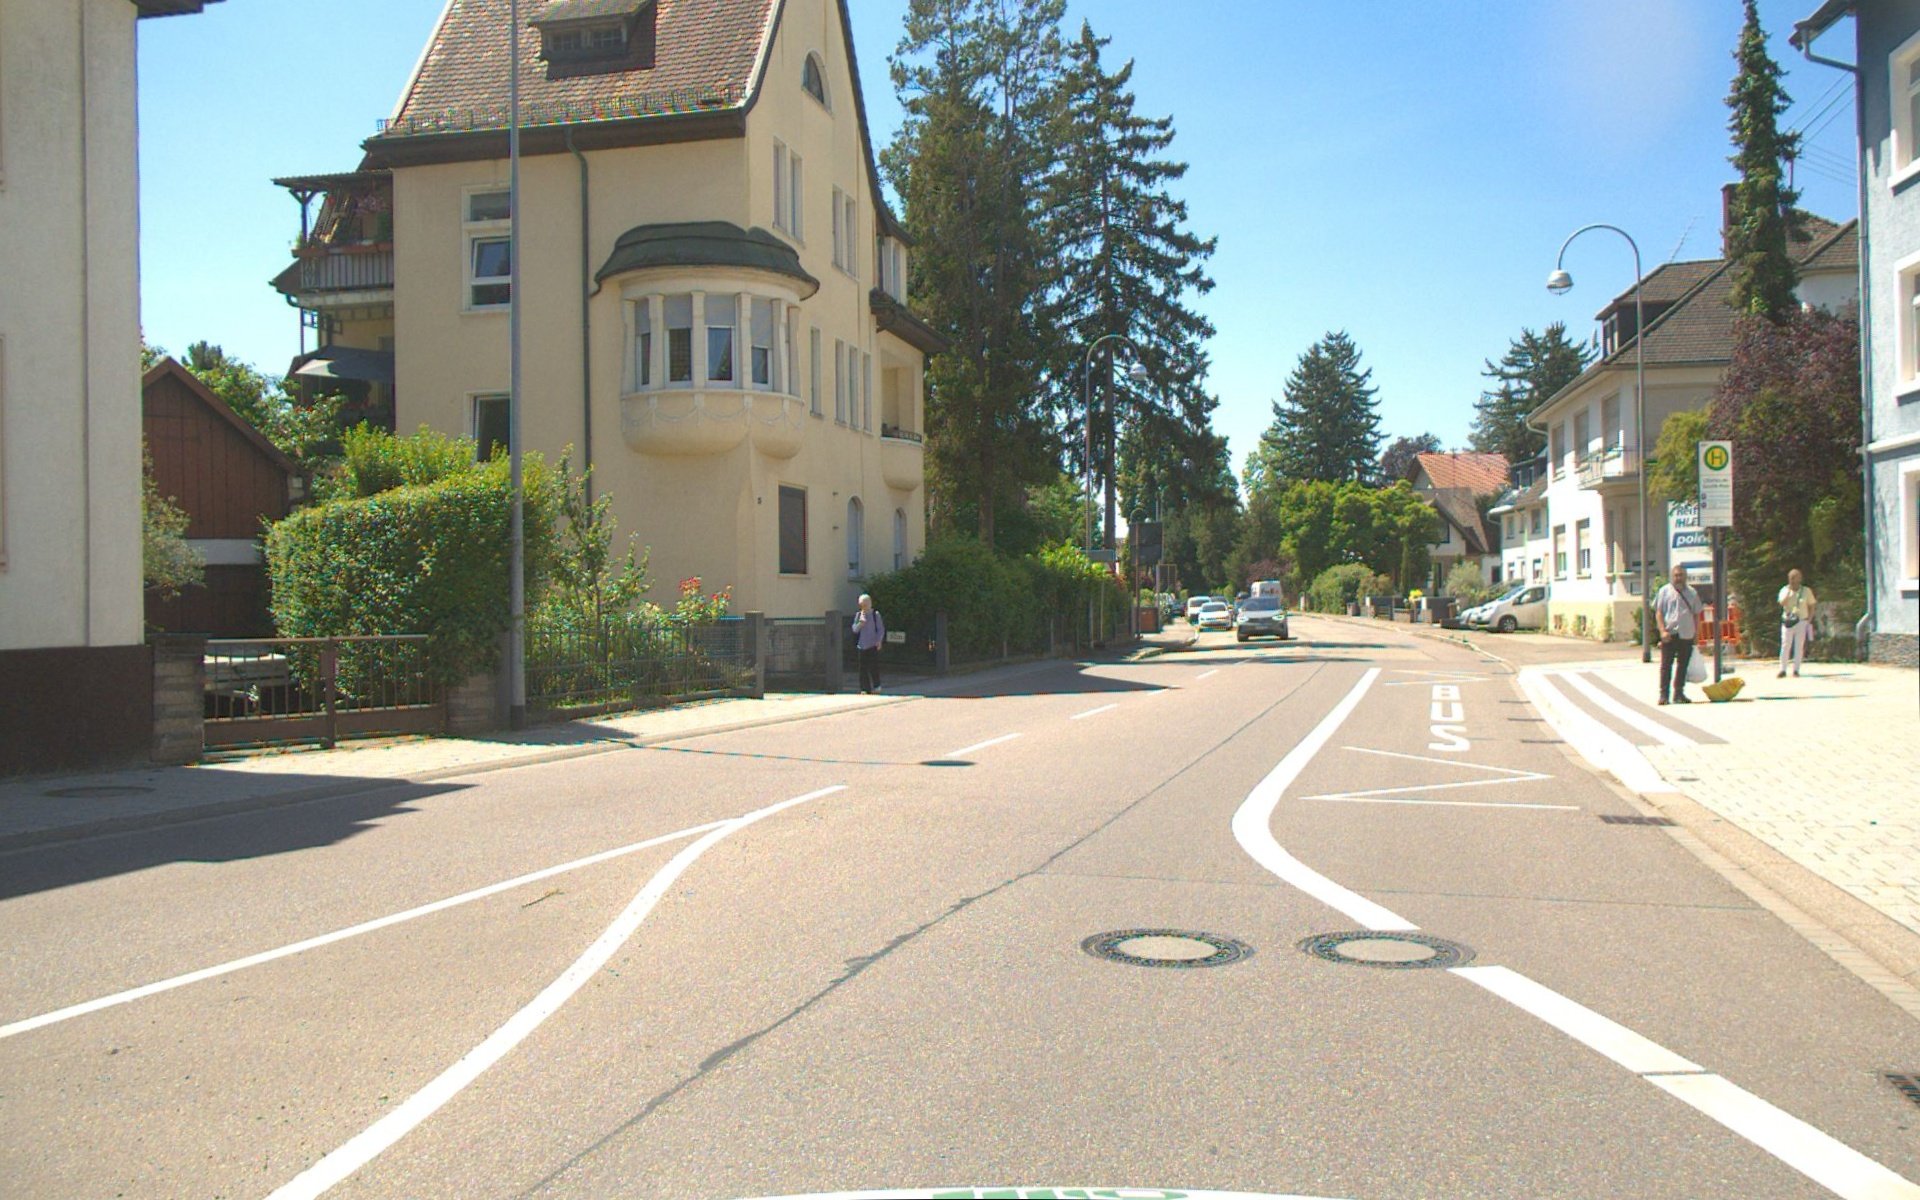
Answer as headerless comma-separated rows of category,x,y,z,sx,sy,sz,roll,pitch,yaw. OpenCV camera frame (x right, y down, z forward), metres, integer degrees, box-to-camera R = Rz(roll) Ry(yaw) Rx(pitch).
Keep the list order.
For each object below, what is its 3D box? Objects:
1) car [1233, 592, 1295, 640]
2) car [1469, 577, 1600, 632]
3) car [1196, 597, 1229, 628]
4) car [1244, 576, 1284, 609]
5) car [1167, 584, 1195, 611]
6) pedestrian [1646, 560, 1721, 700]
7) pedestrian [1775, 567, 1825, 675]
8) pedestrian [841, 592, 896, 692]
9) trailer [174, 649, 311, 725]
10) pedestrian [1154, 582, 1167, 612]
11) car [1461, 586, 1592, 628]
car,11.531,0.575,62.566,1.814,1.645,4.299,-3,-1,16
car,21.298,0.152,61.426,4.202,1.862,1.740,2,1,1
car,13.131,0.638,86.089,1.545,1.448,3.944,-3,0,8
car,22.980,-0.577,125.157,2.100,2.356,4.853,-3,0,0
car,15.336,-0.184,114.778,1.686,1.766,3.889,-3,0,5
pedestrian,9.858,0.406,22.557,0.601,1.836,0.751,-4,-1,5
pedestrian,13.229,0.323,26.070,0.602,1.644,0.750,-3,-1,26
pedestrian,-1.509,0.681,27.410,0.600,1.591,0.825,4,1,14
trailer,-9.635,1.128,22.129,1.341,0.875,2.787,0,0,-31
pedestrian,13.083,-0.193,107.760,0.675,1.922,1.019,4,0,11
car,21.878,0.238,64.062,4.541,1.433,1.770,2,1,11
